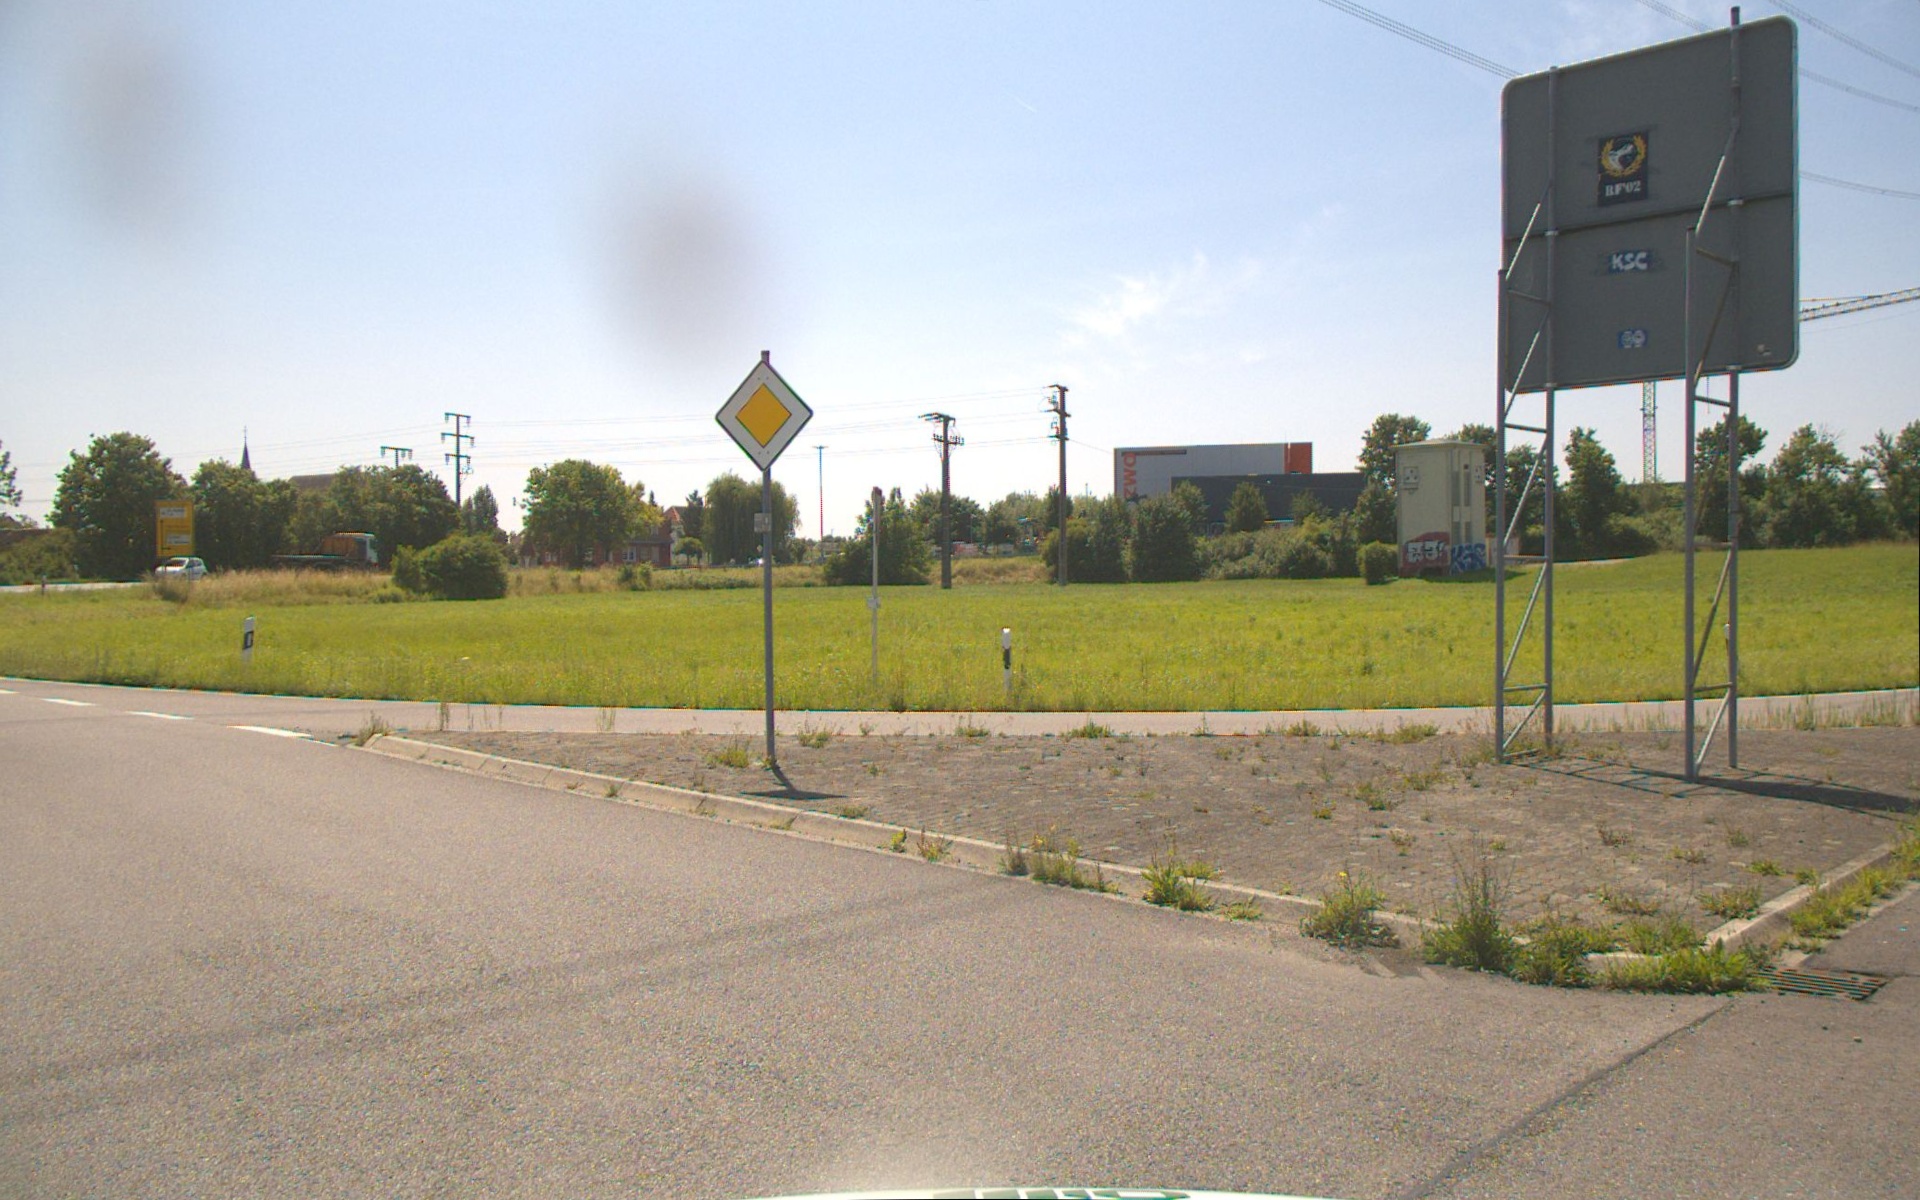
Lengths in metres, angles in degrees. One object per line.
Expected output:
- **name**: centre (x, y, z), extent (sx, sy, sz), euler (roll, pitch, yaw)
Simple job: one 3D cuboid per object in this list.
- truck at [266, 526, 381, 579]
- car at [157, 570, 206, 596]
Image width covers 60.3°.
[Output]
- **truck**: centre (-42.188, -3.091, 109.970), extent (3.032, 3.192, 8.810), euler (1, 0, 9)
- **car**: centre (-46.910, -1.006, 99.733), extent (1.507, 1.468, 3.602), euler (2, 0, -7)
